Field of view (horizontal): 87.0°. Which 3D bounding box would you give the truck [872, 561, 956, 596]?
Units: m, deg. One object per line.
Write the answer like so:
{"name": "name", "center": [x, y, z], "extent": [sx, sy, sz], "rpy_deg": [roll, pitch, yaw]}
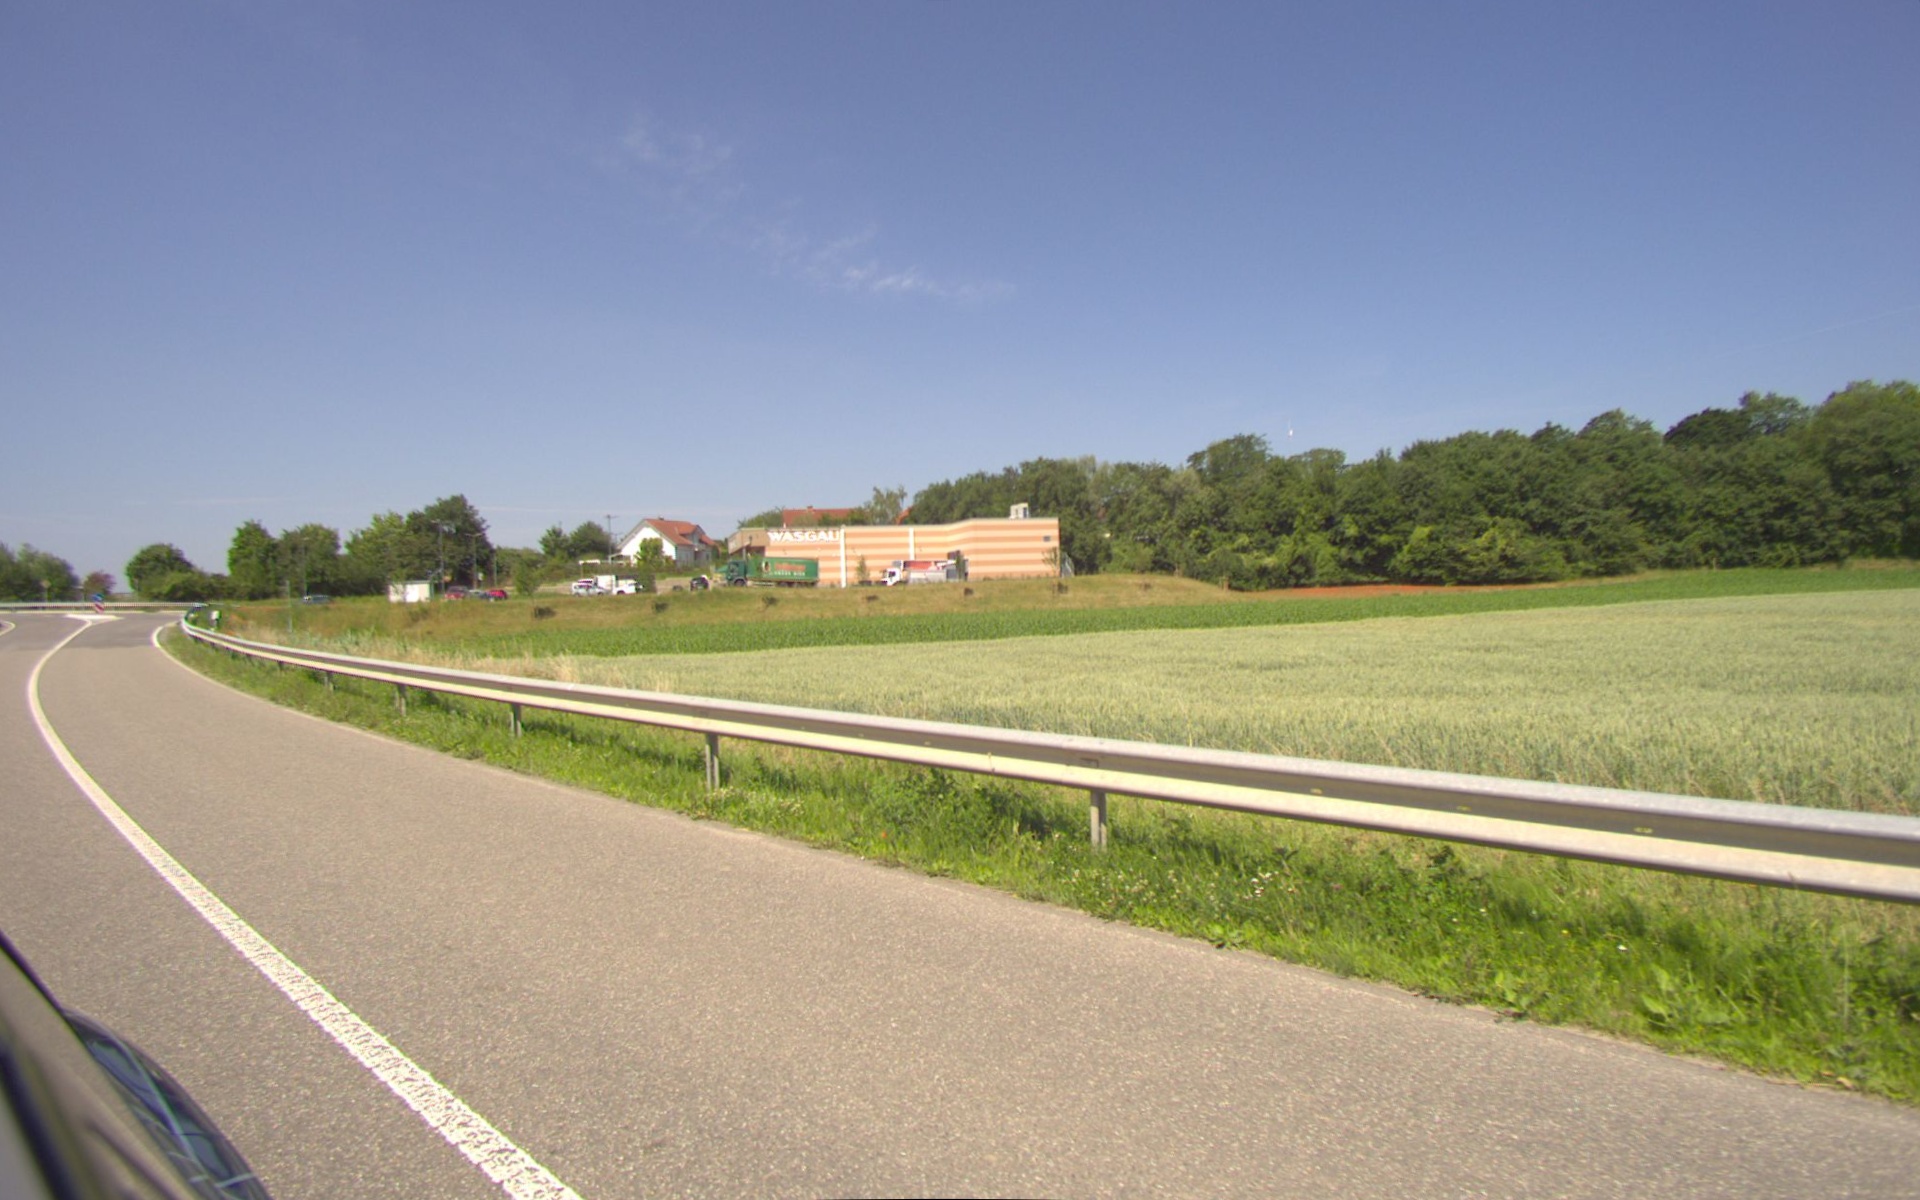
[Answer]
{"name": "truck", "center": [-5.054, -2.438, 112.065], "extent": [8.732, 3.590, 2.887], "rpy_deg": [-2, 3, -16]}

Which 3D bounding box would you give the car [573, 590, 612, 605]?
{"name": "car", "center": [-43.625, -0.288, 120.310], "extent": [4.259, 1.609, 2.007], "rpy_deg": [-3, 3, -19]}

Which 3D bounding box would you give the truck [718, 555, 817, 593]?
{"name": "truck", "center": [-19.808, -2.683, 104.161], "extent": [9.778, 3.503, 2.886], "rpy_deg": [-2, 3, -13]}

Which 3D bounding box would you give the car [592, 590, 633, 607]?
{"name": "car", "center": [-38.861, -0.161, 113.143], "extent": [4.259, 1.716, 2.006], "rpy_deg": [-3, 3, -18]}

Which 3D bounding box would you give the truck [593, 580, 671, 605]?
{"name": "truck", "center": [-47.845, -1.135, 147.884], "extent": [10.541, 3.214, 2.454], "rpy_deg": [-3, 3, -32]}
